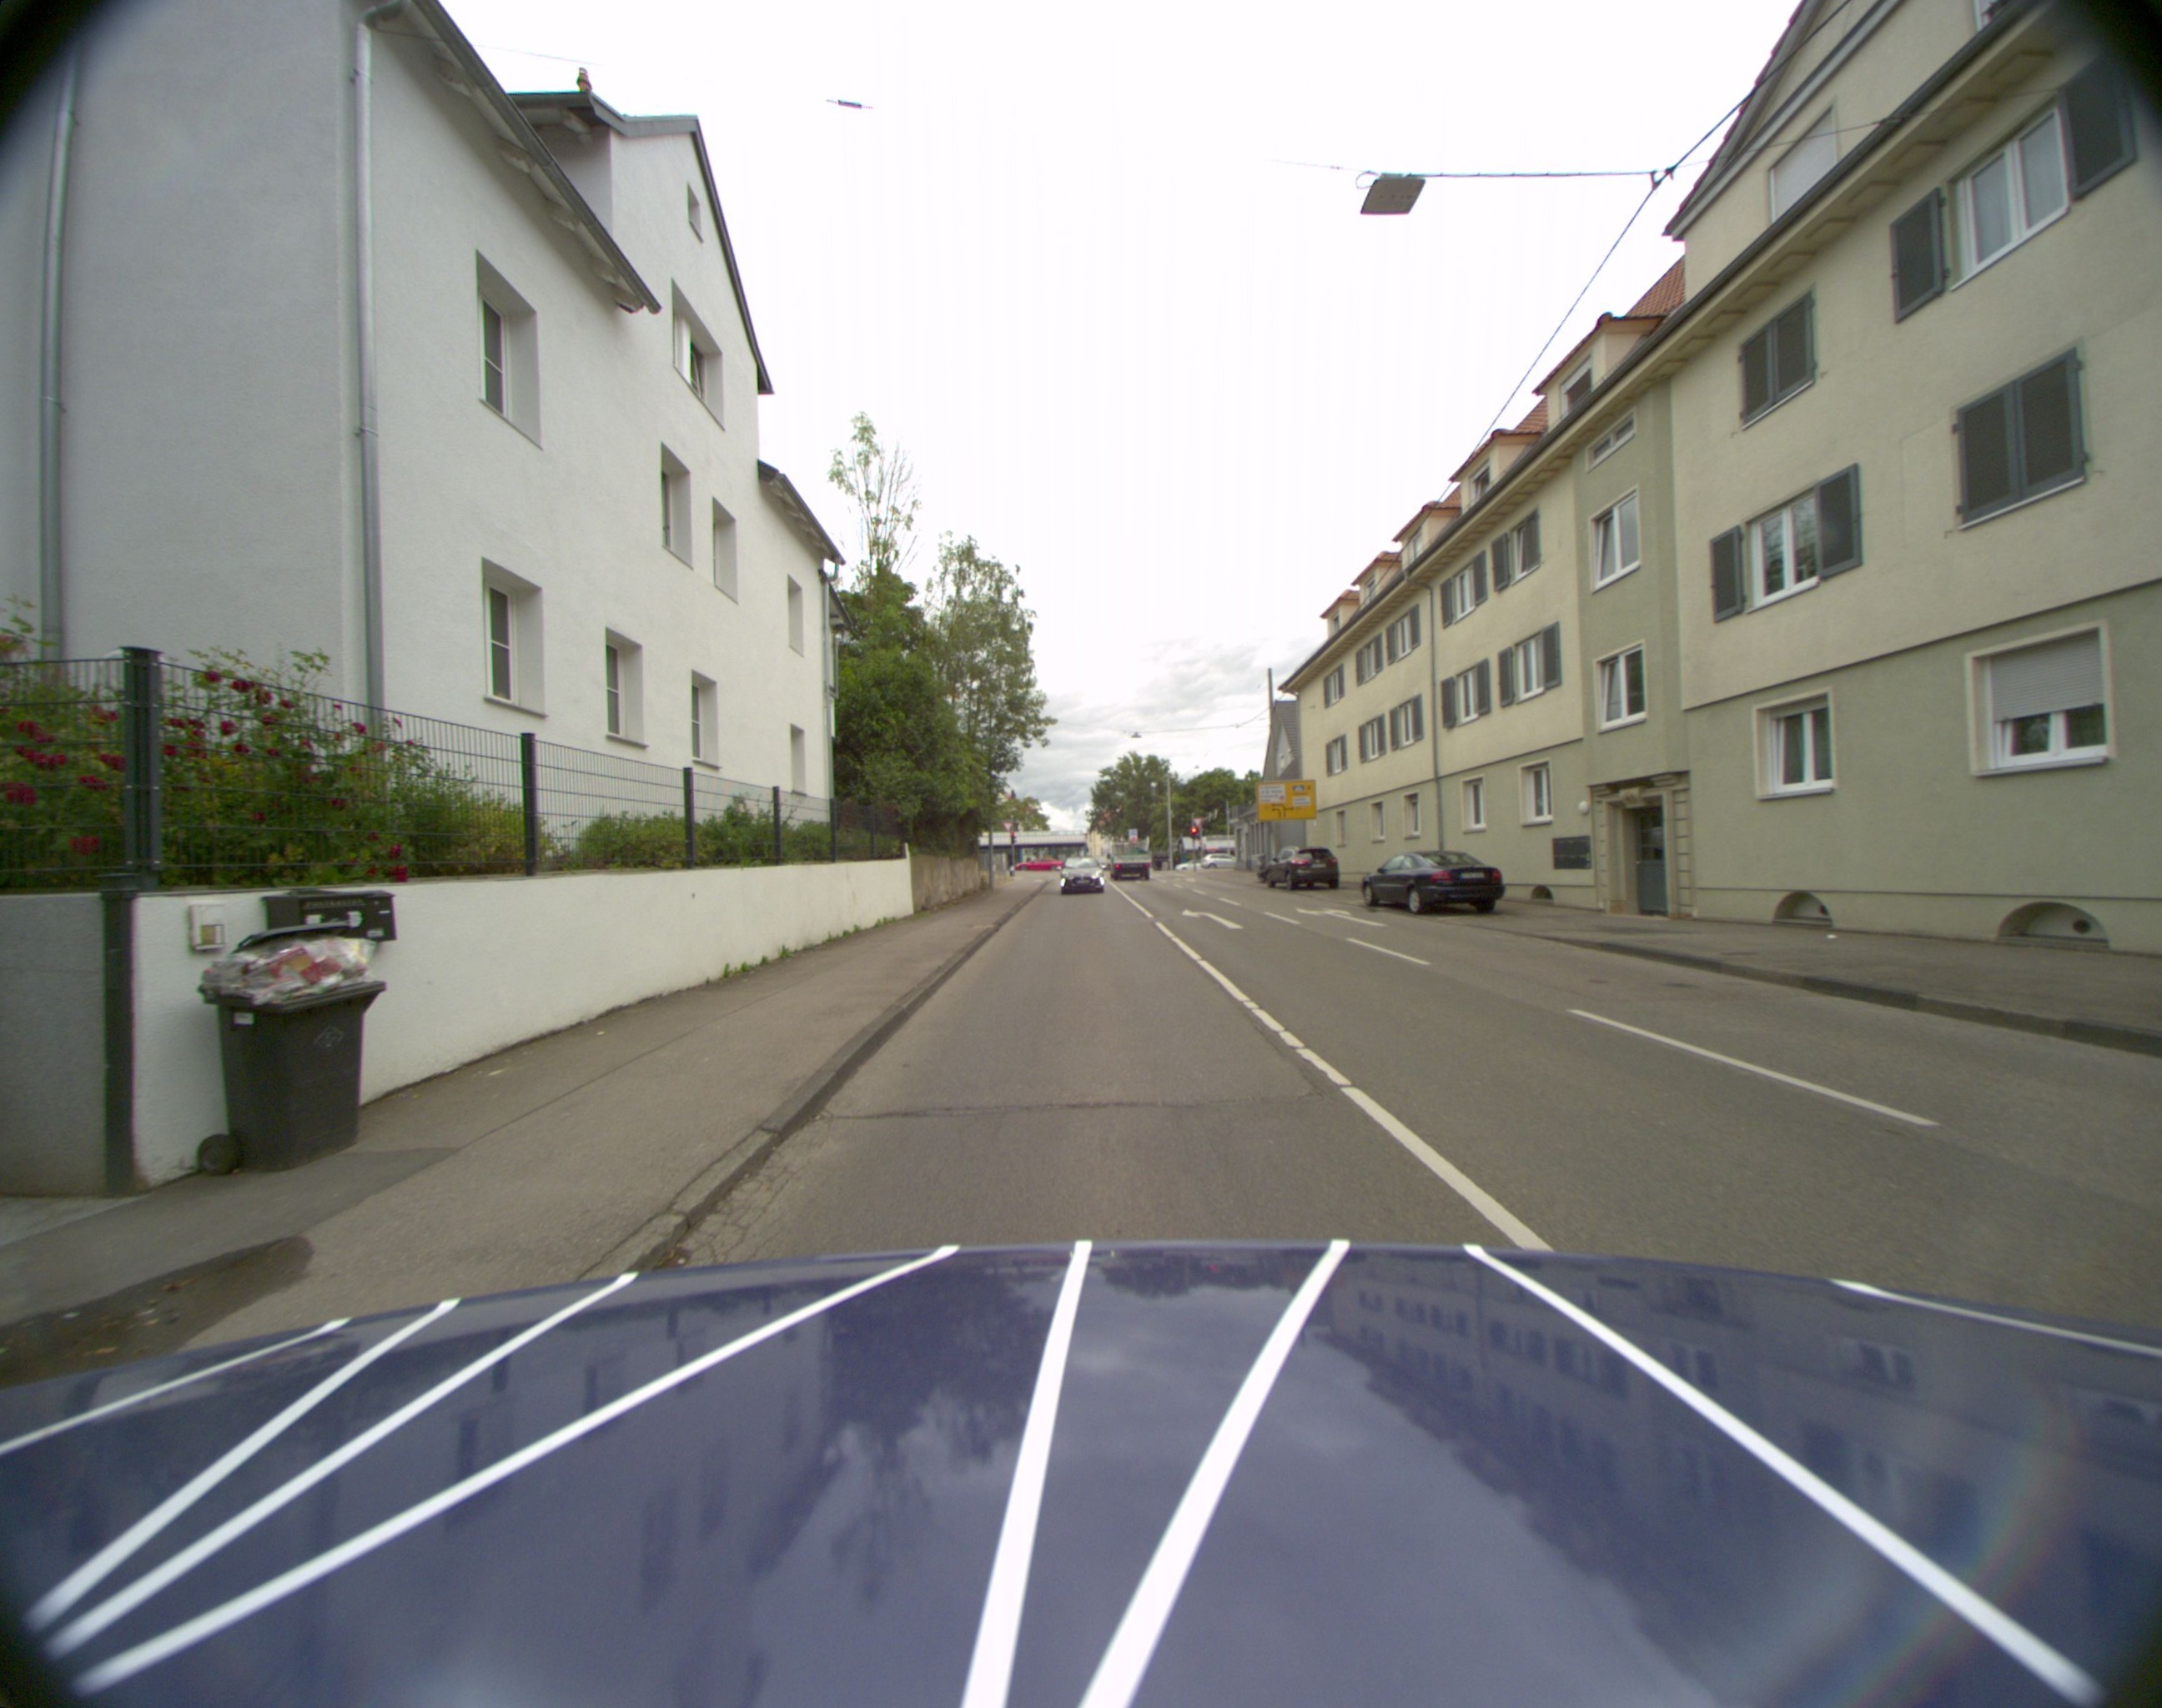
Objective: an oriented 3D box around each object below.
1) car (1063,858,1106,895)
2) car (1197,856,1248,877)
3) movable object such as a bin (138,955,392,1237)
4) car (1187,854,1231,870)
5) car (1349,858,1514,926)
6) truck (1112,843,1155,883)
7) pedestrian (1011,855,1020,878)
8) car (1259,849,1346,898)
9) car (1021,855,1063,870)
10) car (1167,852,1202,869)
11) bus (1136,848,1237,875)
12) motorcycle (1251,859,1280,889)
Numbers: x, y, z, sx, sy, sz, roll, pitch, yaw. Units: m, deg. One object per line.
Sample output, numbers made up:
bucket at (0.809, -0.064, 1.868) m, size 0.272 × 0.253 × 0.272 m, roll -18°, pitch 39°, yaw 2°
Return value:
car at (0.126, 0.858, 30.989) m, size 1.646 × 1.390 × 3.781 m, roll 0°, pitch 0°, yaw -1°
car at (12.215, 1.053, 65.695) m, size 3.999 × 1.683 × 1.974 m, roll -1°, pitch 0°, yaw -6°
movable object such as a bin at (-3.944, 1.128, 3.723) m, size 0.529 × 1.171 × 0.634 m, roll 2°, pitch 0°, yaw -1°
car at (12.334, 0.804, 72.929) m, size 3.992 × 1.503 × 2.002 m, roll 0°, pitch 0°, yaw 15°
car at (8.217, 0.812, 18.387) m, size 1.715 × 1.395 × 4.845 m, roll -1°, pitch 0°, yaw -1°
truck at (3.050, 0.520, 45.521) m, size 2.126 × 2.188 × 6.590 m, roll -1°, pitch 0°, yaw 1°
pedestrian at (-4.673, 0.901, 54.113) m, size 0.553 × 1.581 × 0.672 m, roll 2°, pitch 0°, yaw -2°
car at (8.336, 0.700, 29.049) m, size 1.827 × 1.623 × 4.696 m, roll -2°, pitch 0°, yaw -2°
car at (-3.923, 0.835, 75.984) m, size 4.000 × 1.401 × 1.778 m, roll -1°, pitch 0°, yaw -10°
car at (13.235, 0.837, 97.344) m, size 3.999 × 2.177 × 1.999 m, roll 0°, pitch 0°, yaw -5°
bus at (12.679, 0.886, 91.963) m, size 11.846 × 3.043 × 2.001 m, roll -1°, pitch -2°, yaw 3°
motorcycle at (8.256, 0.869, 34.136) m, size 0.627 × 1.283 × 2.230 m, roll -3°, pitch 0°, yaw -2°
